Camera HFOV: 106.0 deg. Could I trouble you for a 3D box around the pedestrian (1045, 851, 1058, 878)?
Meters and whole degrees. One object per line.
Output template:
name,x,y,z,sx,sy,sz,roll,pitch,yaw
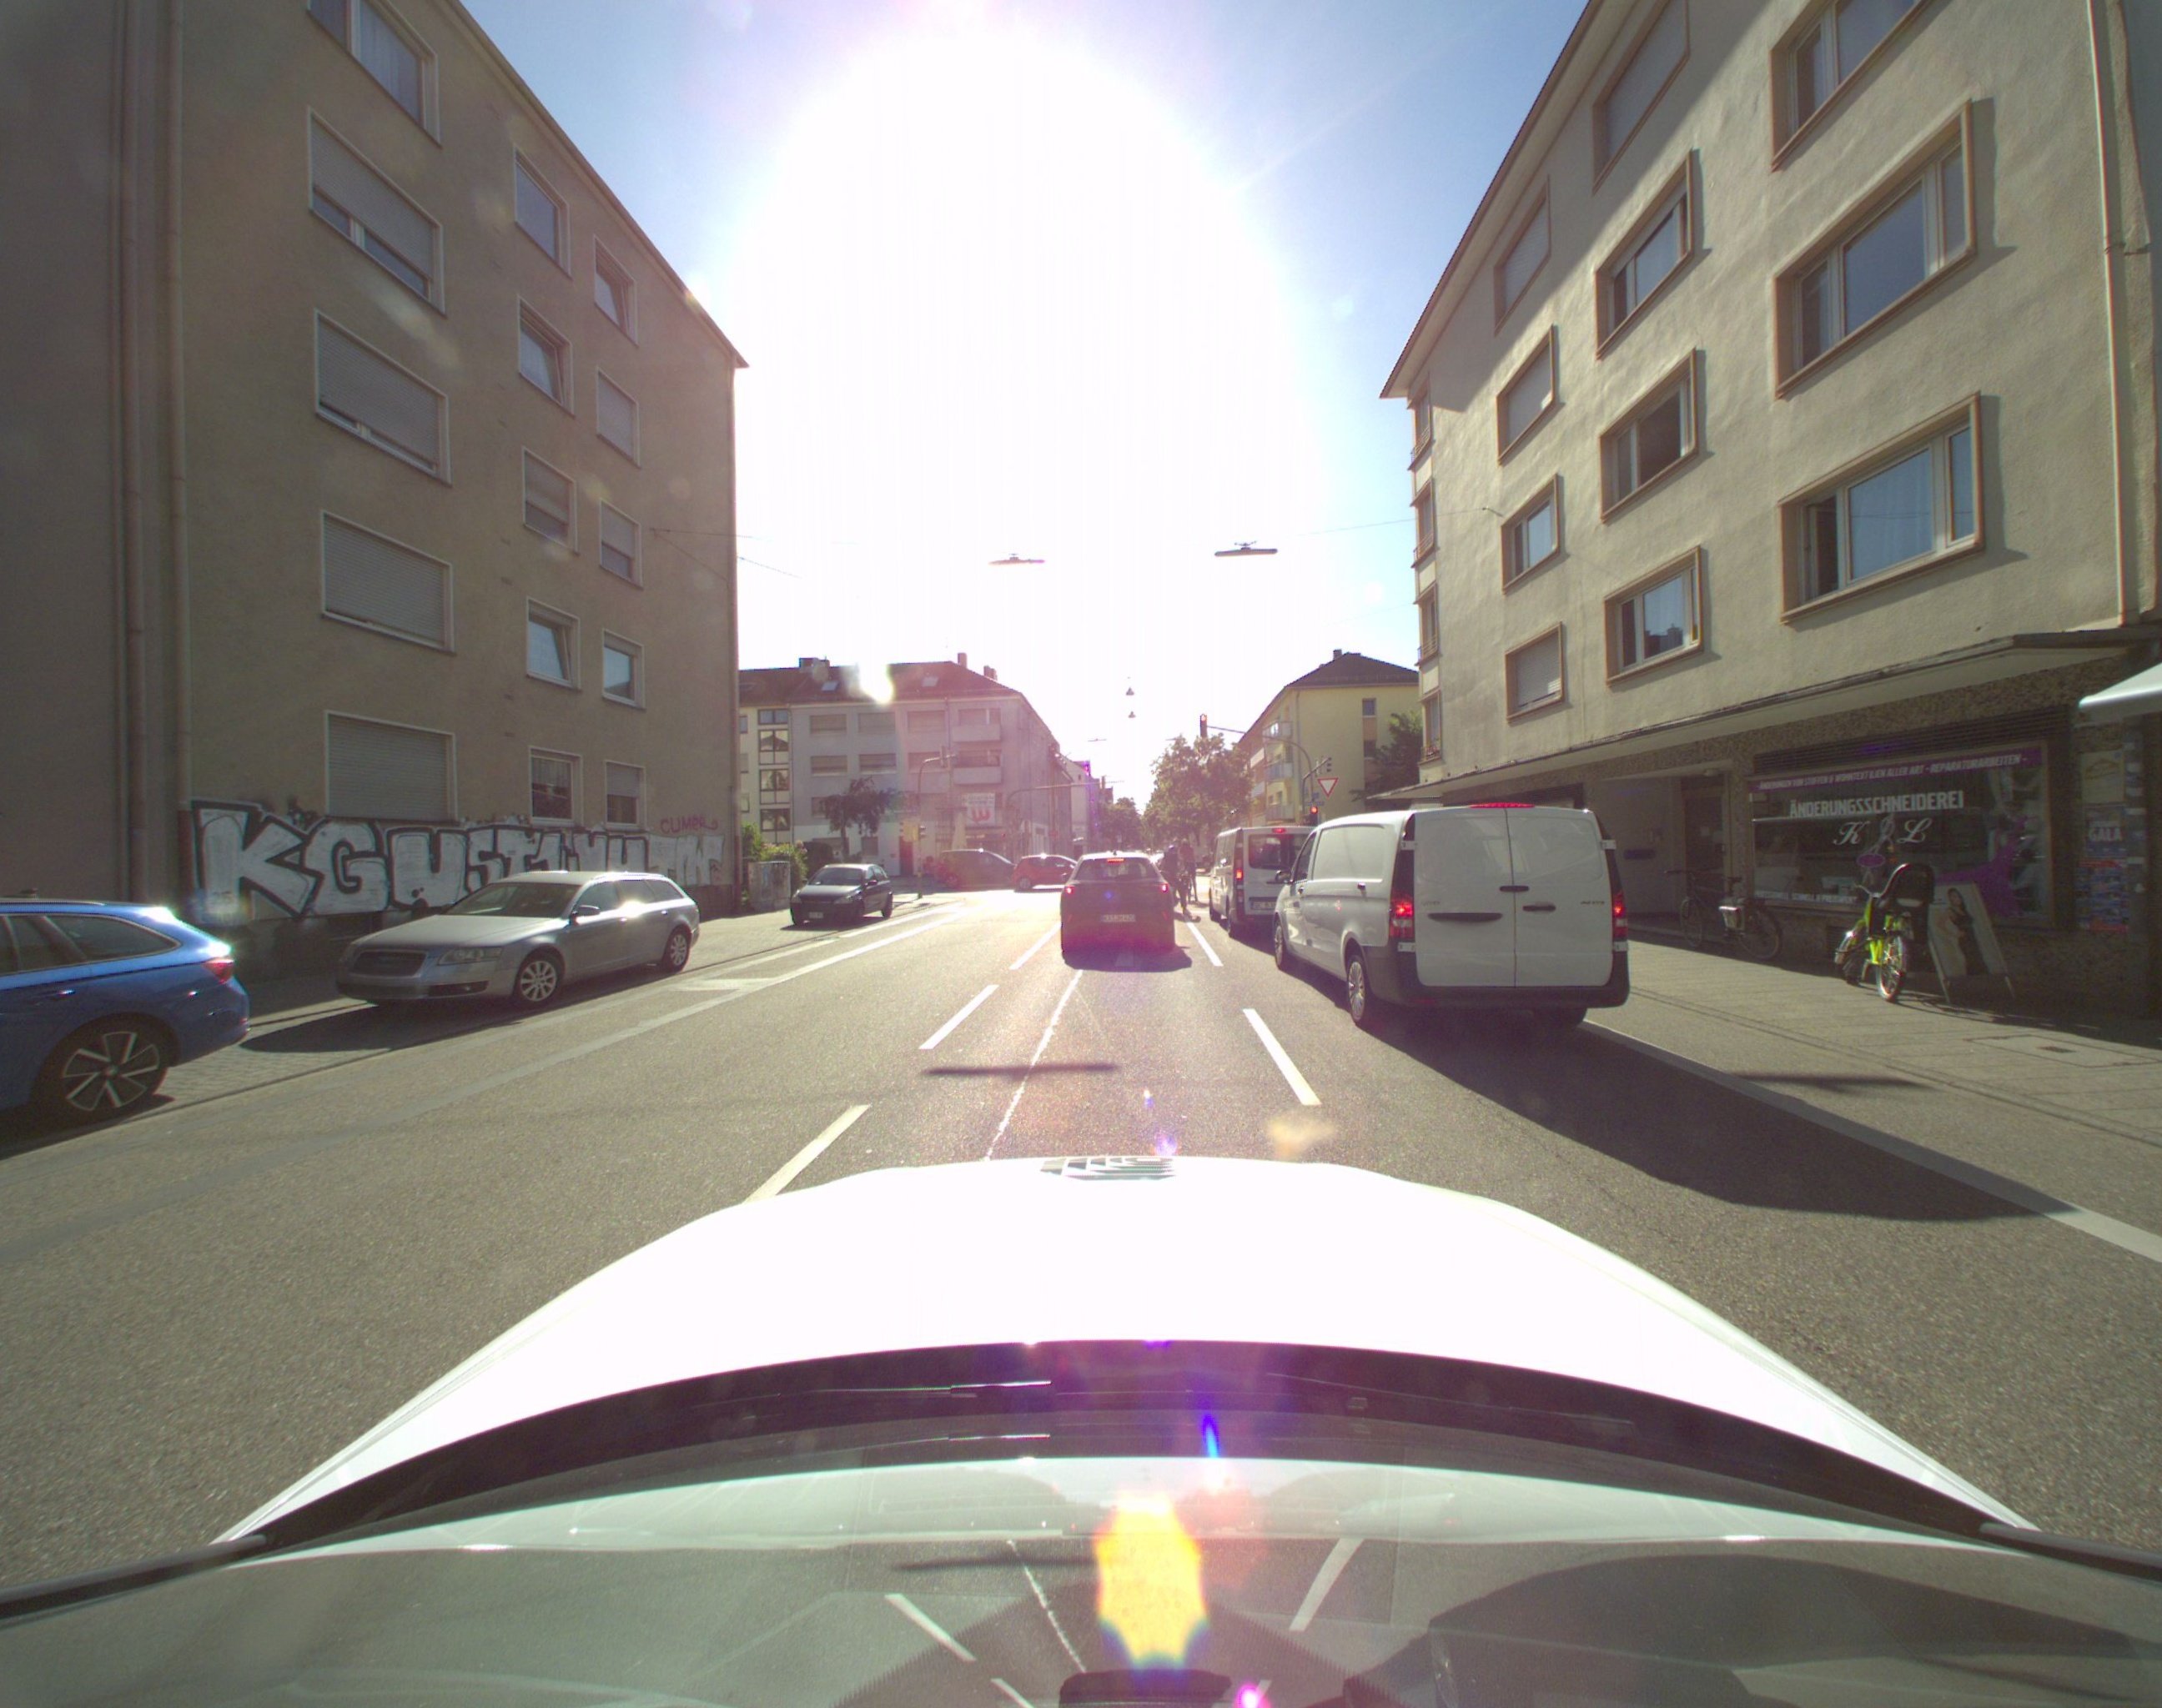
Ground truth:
pedestrian,-1.878,0.653,51.754,0.704,1.677,0.803,-2,0,2

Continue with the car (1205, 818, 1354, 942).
car,3.632,0.426,15.849,1.985,1.979,4.901,-2,0,4

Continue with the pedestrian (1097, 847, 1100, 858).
pedestrian,2.613,-0.157,124.532,0.400,1.675,0.418,-2,0,4

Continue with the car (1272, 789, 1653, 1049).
car,3.339,0.463,8.394,1.828,1.869,5.000,0,0,3

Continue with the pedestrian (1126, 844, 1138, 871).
pedestrian,3.223,0.219,51.427,0.704,1.701,0.803,-2,0,2

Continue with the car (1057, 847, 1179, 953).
car,0.626,0.676,14.093,1.764,1.530,4.002,-2,0,2

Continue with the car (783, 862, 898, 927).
car,-5.953,0.948,20.594,1.609,1.425,3.714,0,0,3

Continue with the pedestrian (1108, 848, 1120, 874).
pedestrian,2.079,0.415,51.372,0.677,1.606,0.763,-2,0,2

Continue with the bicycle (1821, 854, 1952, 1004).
bicycle,7.813,0.667,7.969,0.434,1.249,1.771,-4,0,31

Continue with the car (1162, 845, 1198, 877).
car,5.622,0.369,46.612,1.893,1.728,4.005,-2,0,5

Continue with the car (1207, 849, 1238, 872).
car,9.428,0.421,54.363,1.627,1.433,3.961,-2,0,4

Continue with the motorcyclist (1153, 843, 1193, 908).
motorcyclist,2.228,0.507,19.840,0.860,1.502,1.160,-2,0,3

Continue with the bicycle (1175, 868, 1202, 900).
bicycle,3.309,0.909,25.192,0.575,0.904,2.302,-2,0,2

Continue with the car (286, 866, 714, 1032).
car,-6.734,0.956,10.314,1.710,1.465,4.820,1,0,4

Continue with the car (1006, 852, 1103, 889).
car,-1.112,0.691,35.459,3.969,1.464,1.833,-2,0,4

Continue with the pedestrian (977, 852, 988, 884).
pedestrian,-5.578,0.784,46.341,0.560,1.775,0.583,-1,0,-5

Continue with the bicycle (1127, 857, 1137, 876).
bicycle,3.233,0.772,51.514,0.519,1.147,2.171,-2,0,2

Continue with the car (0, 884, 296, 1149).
car,-7.162,0.985,4.121,1.710,1.465,4.617,0,0,4

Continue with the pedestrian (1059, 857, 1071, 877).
pedestrian,-1.006,0.832,51.673,0.704,1.253,0.803,-2,0,2

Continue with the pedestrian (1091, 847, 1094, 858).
pedestrian,1.823,-0.175,124.615,0.400,1.675,0.418,-2,0,4

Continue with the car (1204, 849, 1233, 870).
car,9.955,0.389,59.237,1.627,1.433,4.004,-2,0,4

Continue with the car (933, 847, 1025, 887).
car,-4.783,0.600,38.606,4.046,1.728,1.908,-2,0,0

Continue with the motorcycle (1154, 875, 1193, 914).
motorcycle,2.234,0.963,19.774,0.822,0.845,1.886,-2,0,3

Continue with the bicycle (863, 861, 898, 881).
bicycle,-12.727,1.079,51.665,2.101,1.172,0.736,-2,0,-20

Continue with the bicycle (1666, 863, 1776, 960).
bicycle,8.323,0.701,10.664,0.398,1.136,1.733,-2,0,12

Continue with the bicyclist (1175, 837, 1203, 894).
bicyclist,3.323,0.342,25.129,0.686,1.712,1.415,-2,0,2
